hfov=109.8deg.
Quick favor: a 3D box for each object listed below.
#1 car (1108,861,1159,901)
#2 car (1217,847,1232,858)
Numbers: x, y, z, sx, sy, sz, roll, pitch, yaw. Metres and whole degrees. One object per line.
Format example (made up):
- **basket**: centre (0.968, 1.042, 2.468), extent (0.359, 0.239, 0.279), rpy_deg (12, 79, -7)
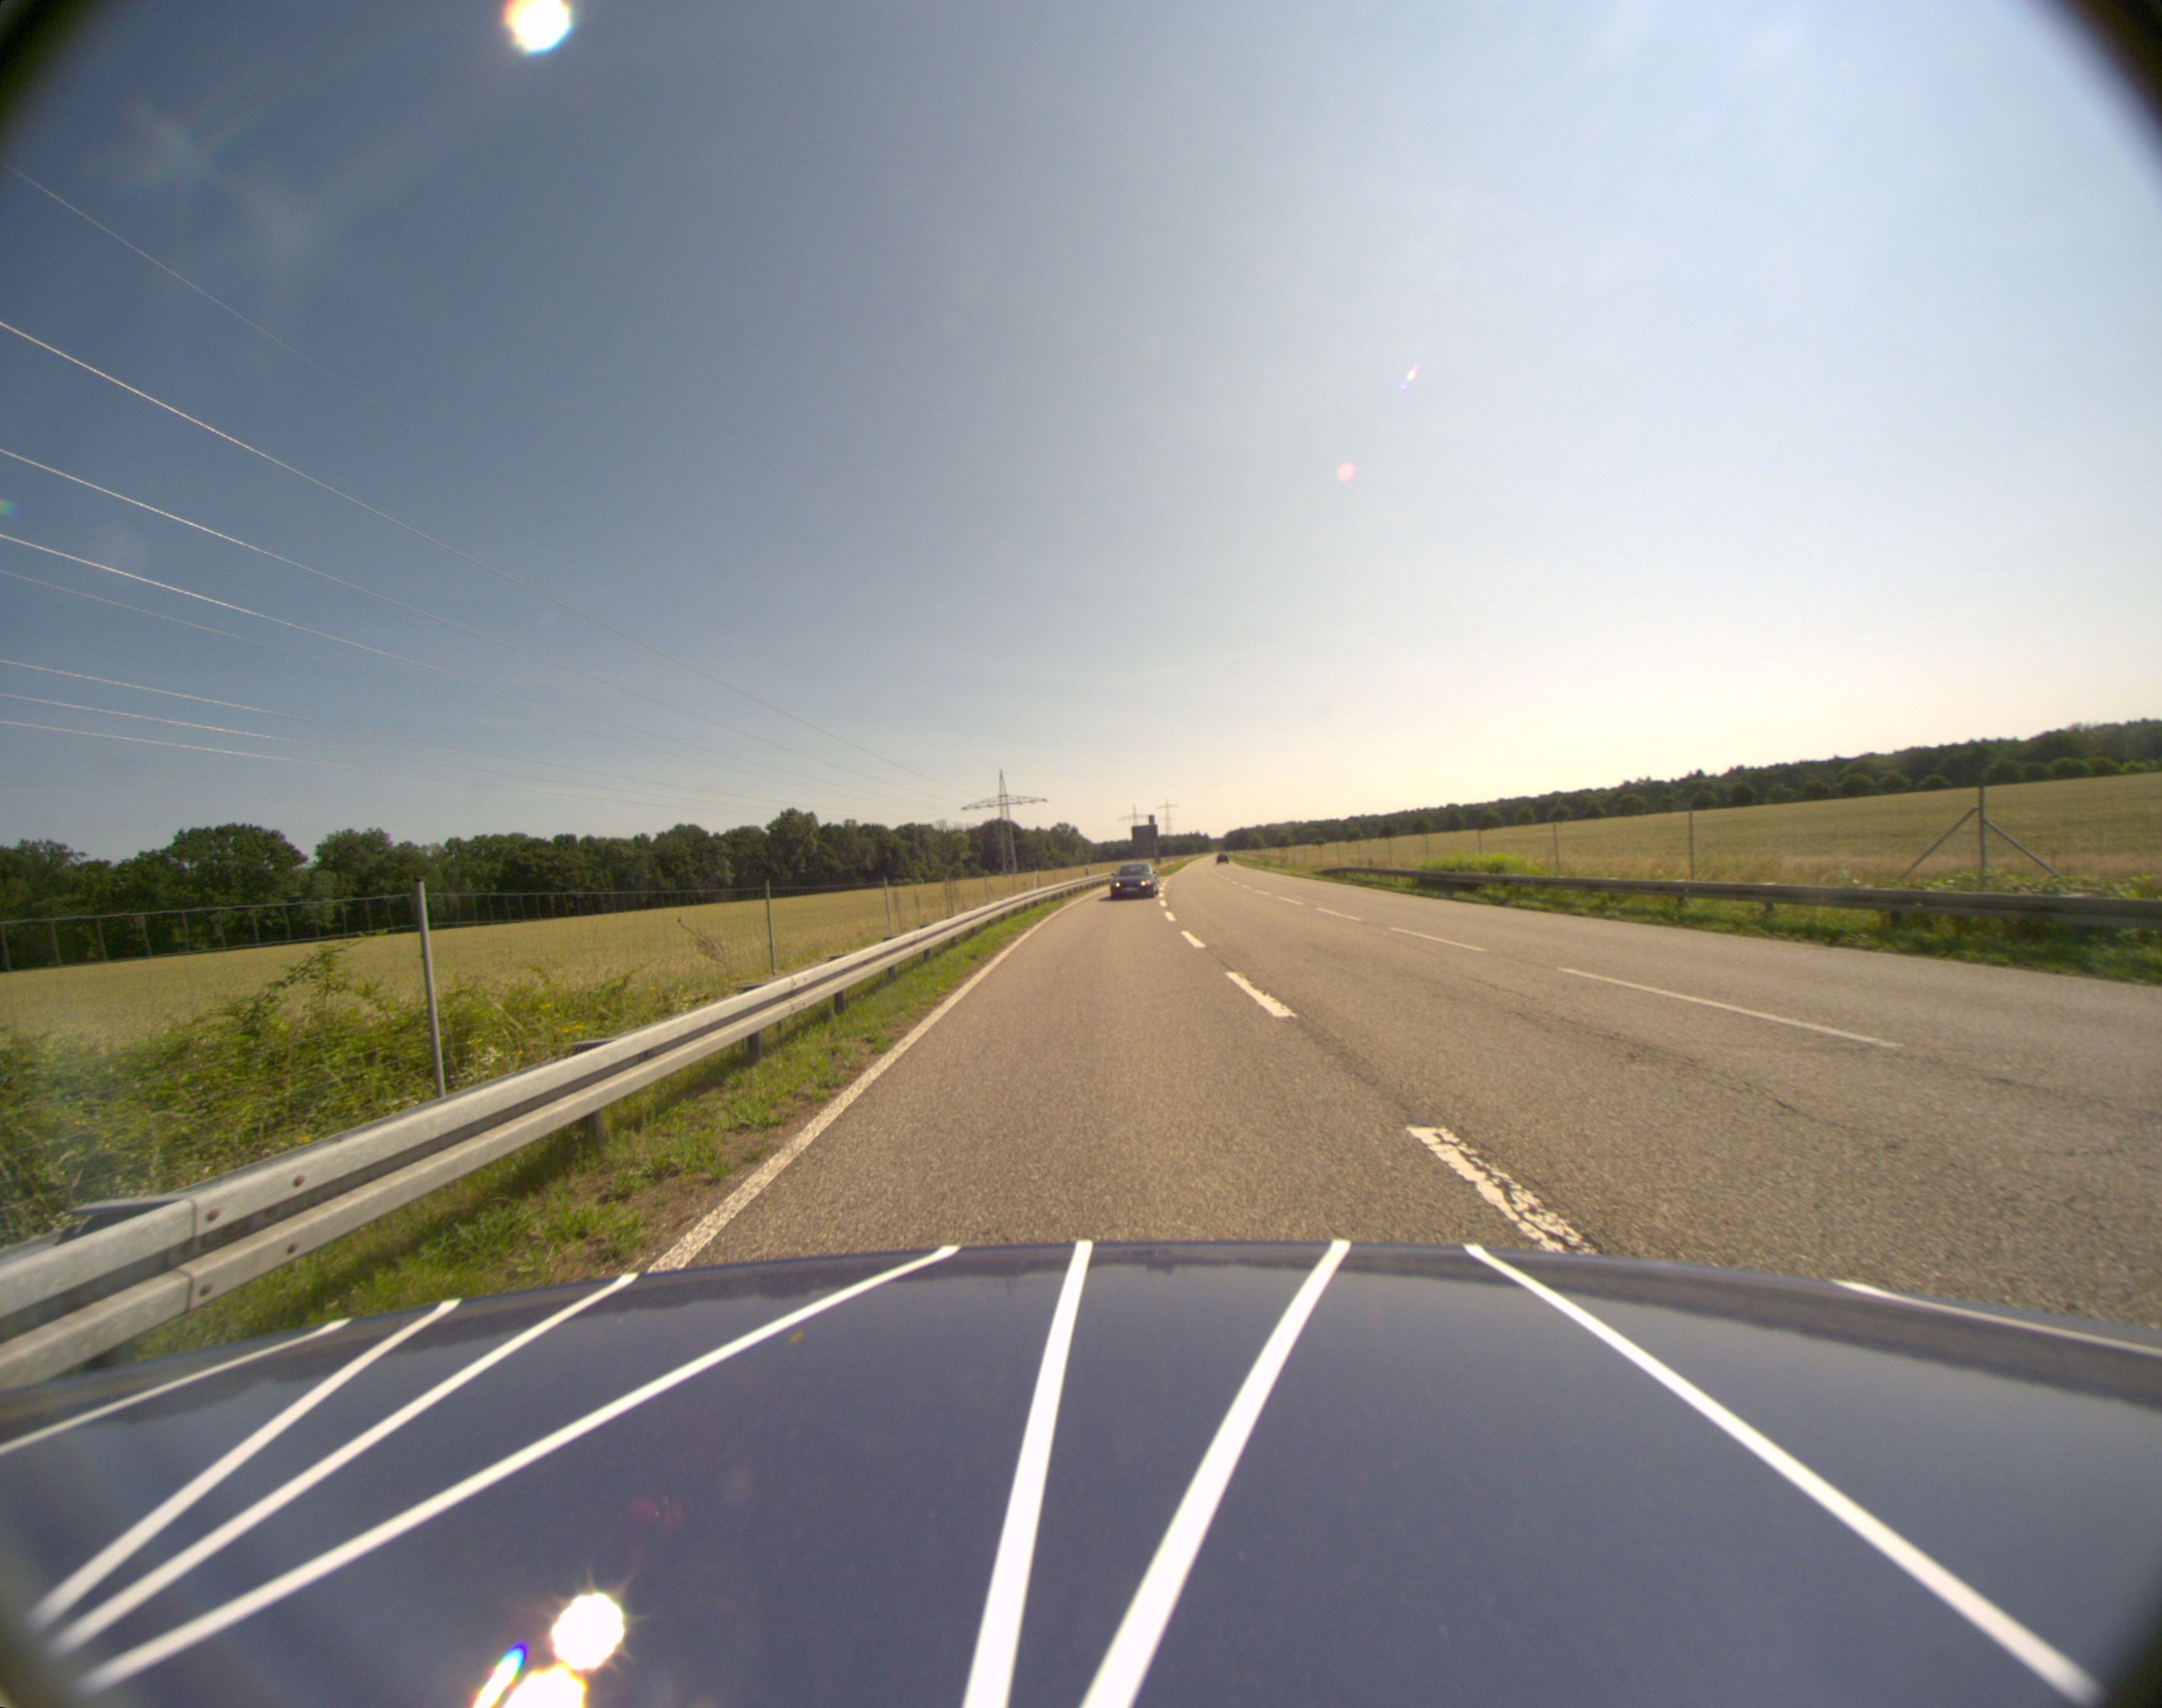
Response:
- **car**: centre (2.166, 1.070, 31.185), extent (1.886, 1.448, 4.077), rpy_deg (-2, 0, 4)
- **car**: centre (21.161, -0.250, 112.081), extent (1.832, 1.498, 4.165), rpy_deg (-3, 0, 8)
